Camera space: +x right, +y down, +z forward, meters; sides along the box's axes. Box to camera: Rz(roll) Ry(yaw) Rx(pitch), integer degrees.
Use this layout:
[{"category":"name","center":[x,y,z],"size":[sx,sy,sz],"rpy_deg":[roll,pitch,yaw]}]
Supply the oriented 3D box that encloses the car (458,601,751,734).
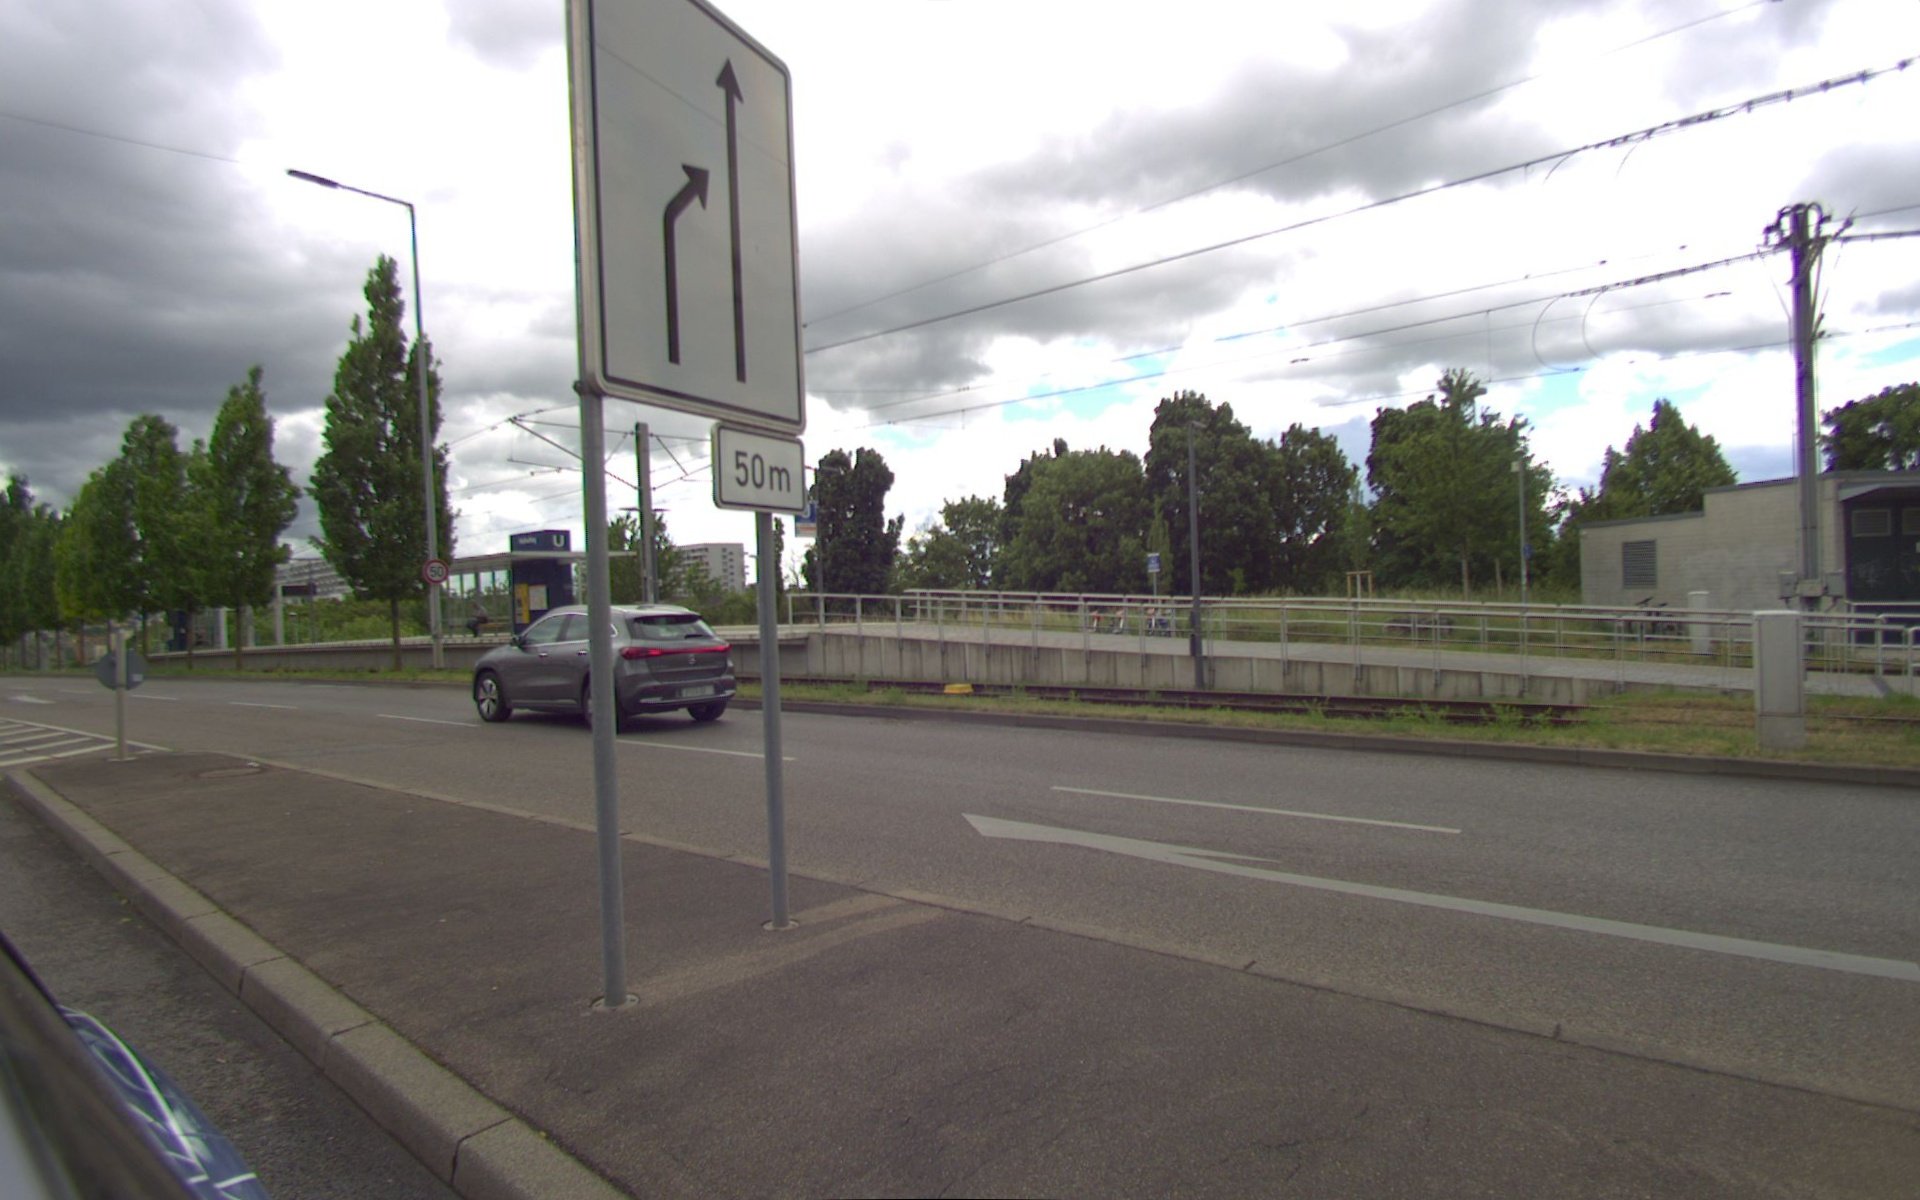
[{"category":"car","center":[-4.979,0.849,13.941],"size":[4.217,1.558,1.762],"rpy_deg":[-2,-1,37]}]

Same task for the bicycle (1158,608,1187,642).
[{"category":"bicycle","center":[7.049,0.814,33.463],"size":[0.490,1.095,1.466],"rpy_deg":[-2,-1,30]}]

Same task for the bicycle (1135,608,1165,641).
[{"category":"bicycle","center":[6.383,0.815,33.943],"size":[0.490,1.095,1.466],"rpy_deg":[-2,-1,30]}]

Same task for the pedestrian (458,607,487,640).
[{"category":"pedestrian","center":[-18.247,0.877,37.871],"size":[0.781,1.211,0.656],"rpy_deg":[-2,-1,33]}]

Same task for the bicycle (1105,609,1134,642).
[{"category":"bicycle","center":[5.443,0.866,34.455],"size":[0.490,1.095,1.466],"rpy_deg":[-2,-1,30]}]

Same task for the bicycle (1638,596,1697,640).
[{"category":"bicycle","center":[18.197,0.457,26.054],"size":[0.486,1.095,1.480],"rpy_deg":[-1,-1,3]}]

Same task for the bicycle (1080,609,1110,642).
[{"category":"bicycle","center":[4.686,0.888,35.156],"size":[0.490,1.095,1.466],"rpy_deg":[-2,-1,30]}]
